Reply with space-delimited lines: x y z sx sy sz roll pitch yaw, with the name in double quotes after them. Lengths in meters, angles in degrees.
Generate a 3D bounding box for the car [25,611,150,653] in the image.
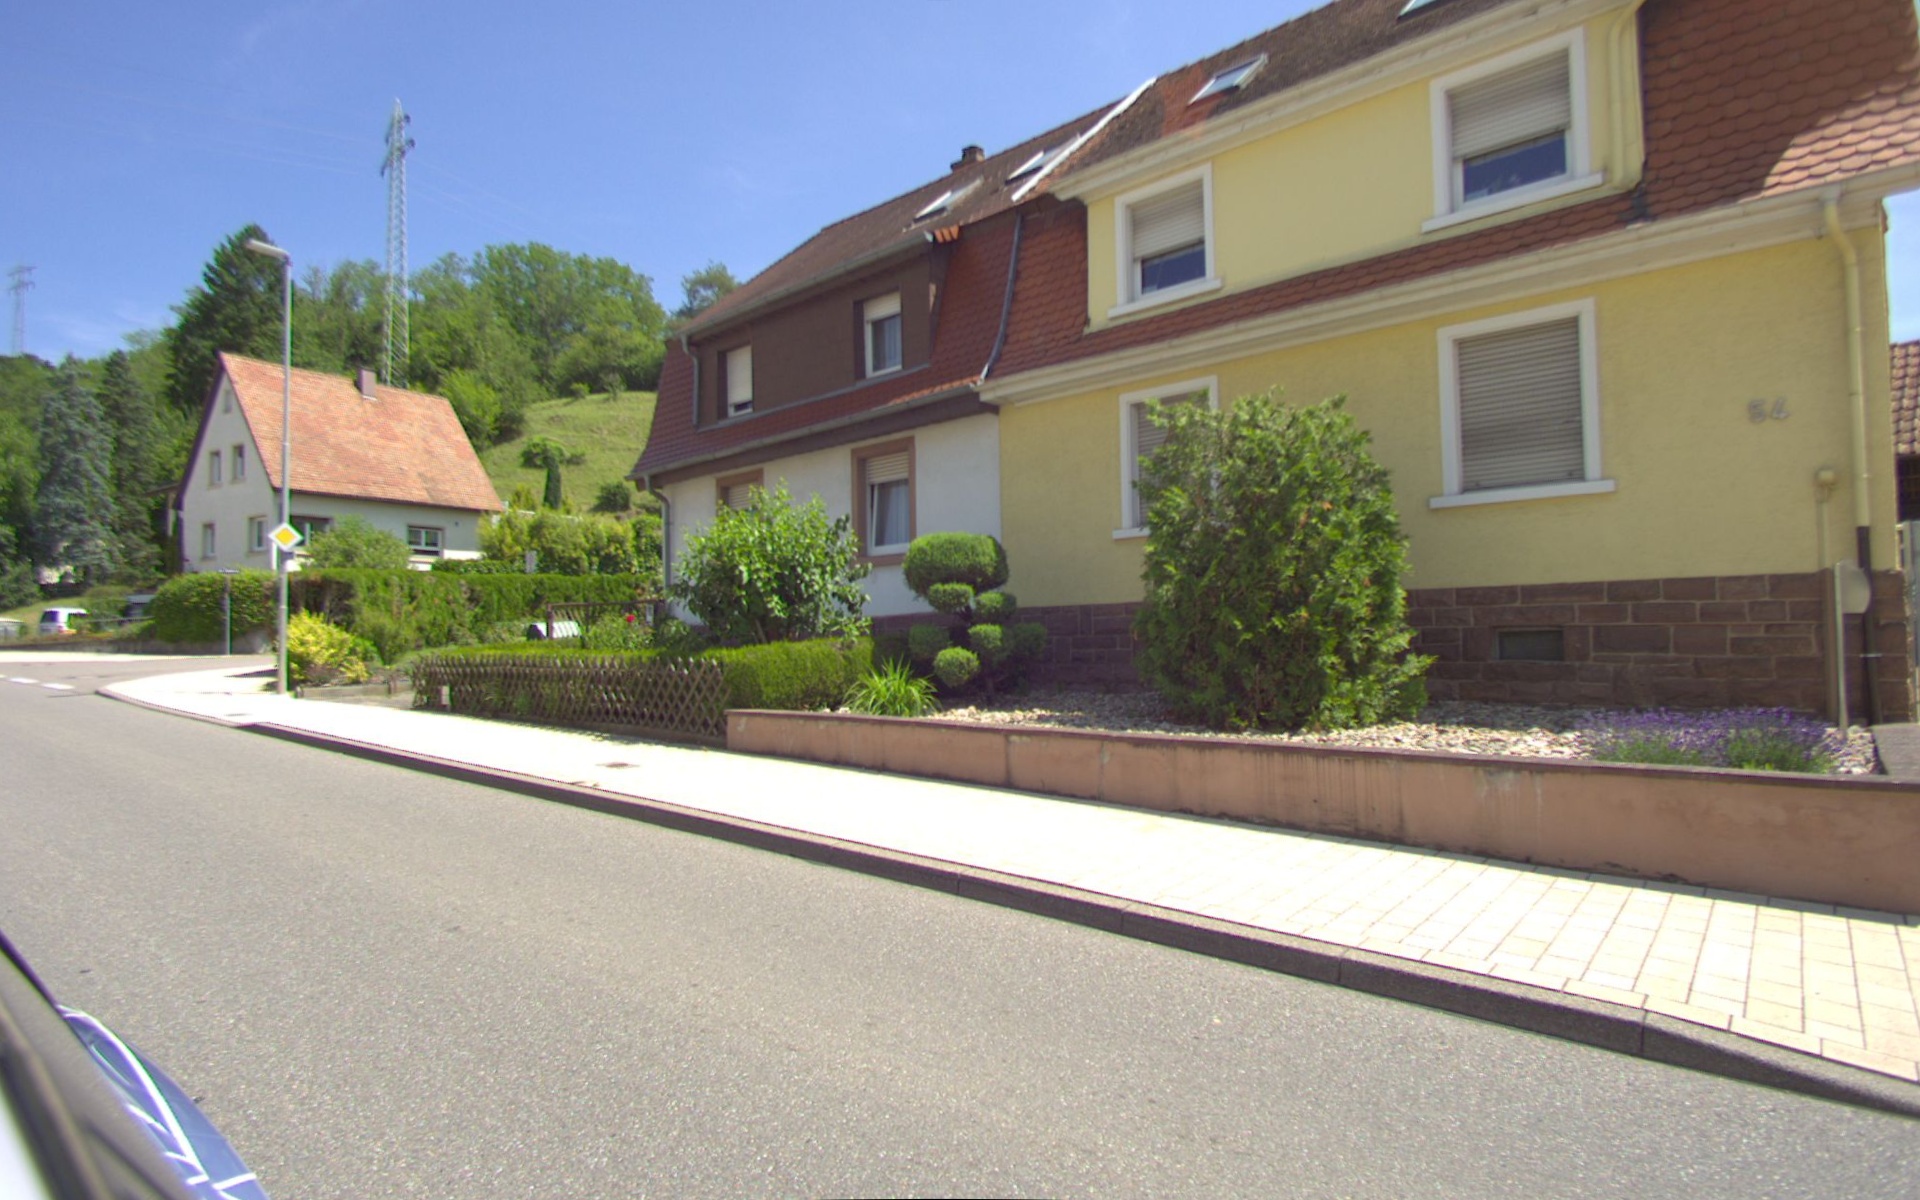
-39.601 1.419 46.044 1.796 1.803 3.976 -1 -1 18 "car"
